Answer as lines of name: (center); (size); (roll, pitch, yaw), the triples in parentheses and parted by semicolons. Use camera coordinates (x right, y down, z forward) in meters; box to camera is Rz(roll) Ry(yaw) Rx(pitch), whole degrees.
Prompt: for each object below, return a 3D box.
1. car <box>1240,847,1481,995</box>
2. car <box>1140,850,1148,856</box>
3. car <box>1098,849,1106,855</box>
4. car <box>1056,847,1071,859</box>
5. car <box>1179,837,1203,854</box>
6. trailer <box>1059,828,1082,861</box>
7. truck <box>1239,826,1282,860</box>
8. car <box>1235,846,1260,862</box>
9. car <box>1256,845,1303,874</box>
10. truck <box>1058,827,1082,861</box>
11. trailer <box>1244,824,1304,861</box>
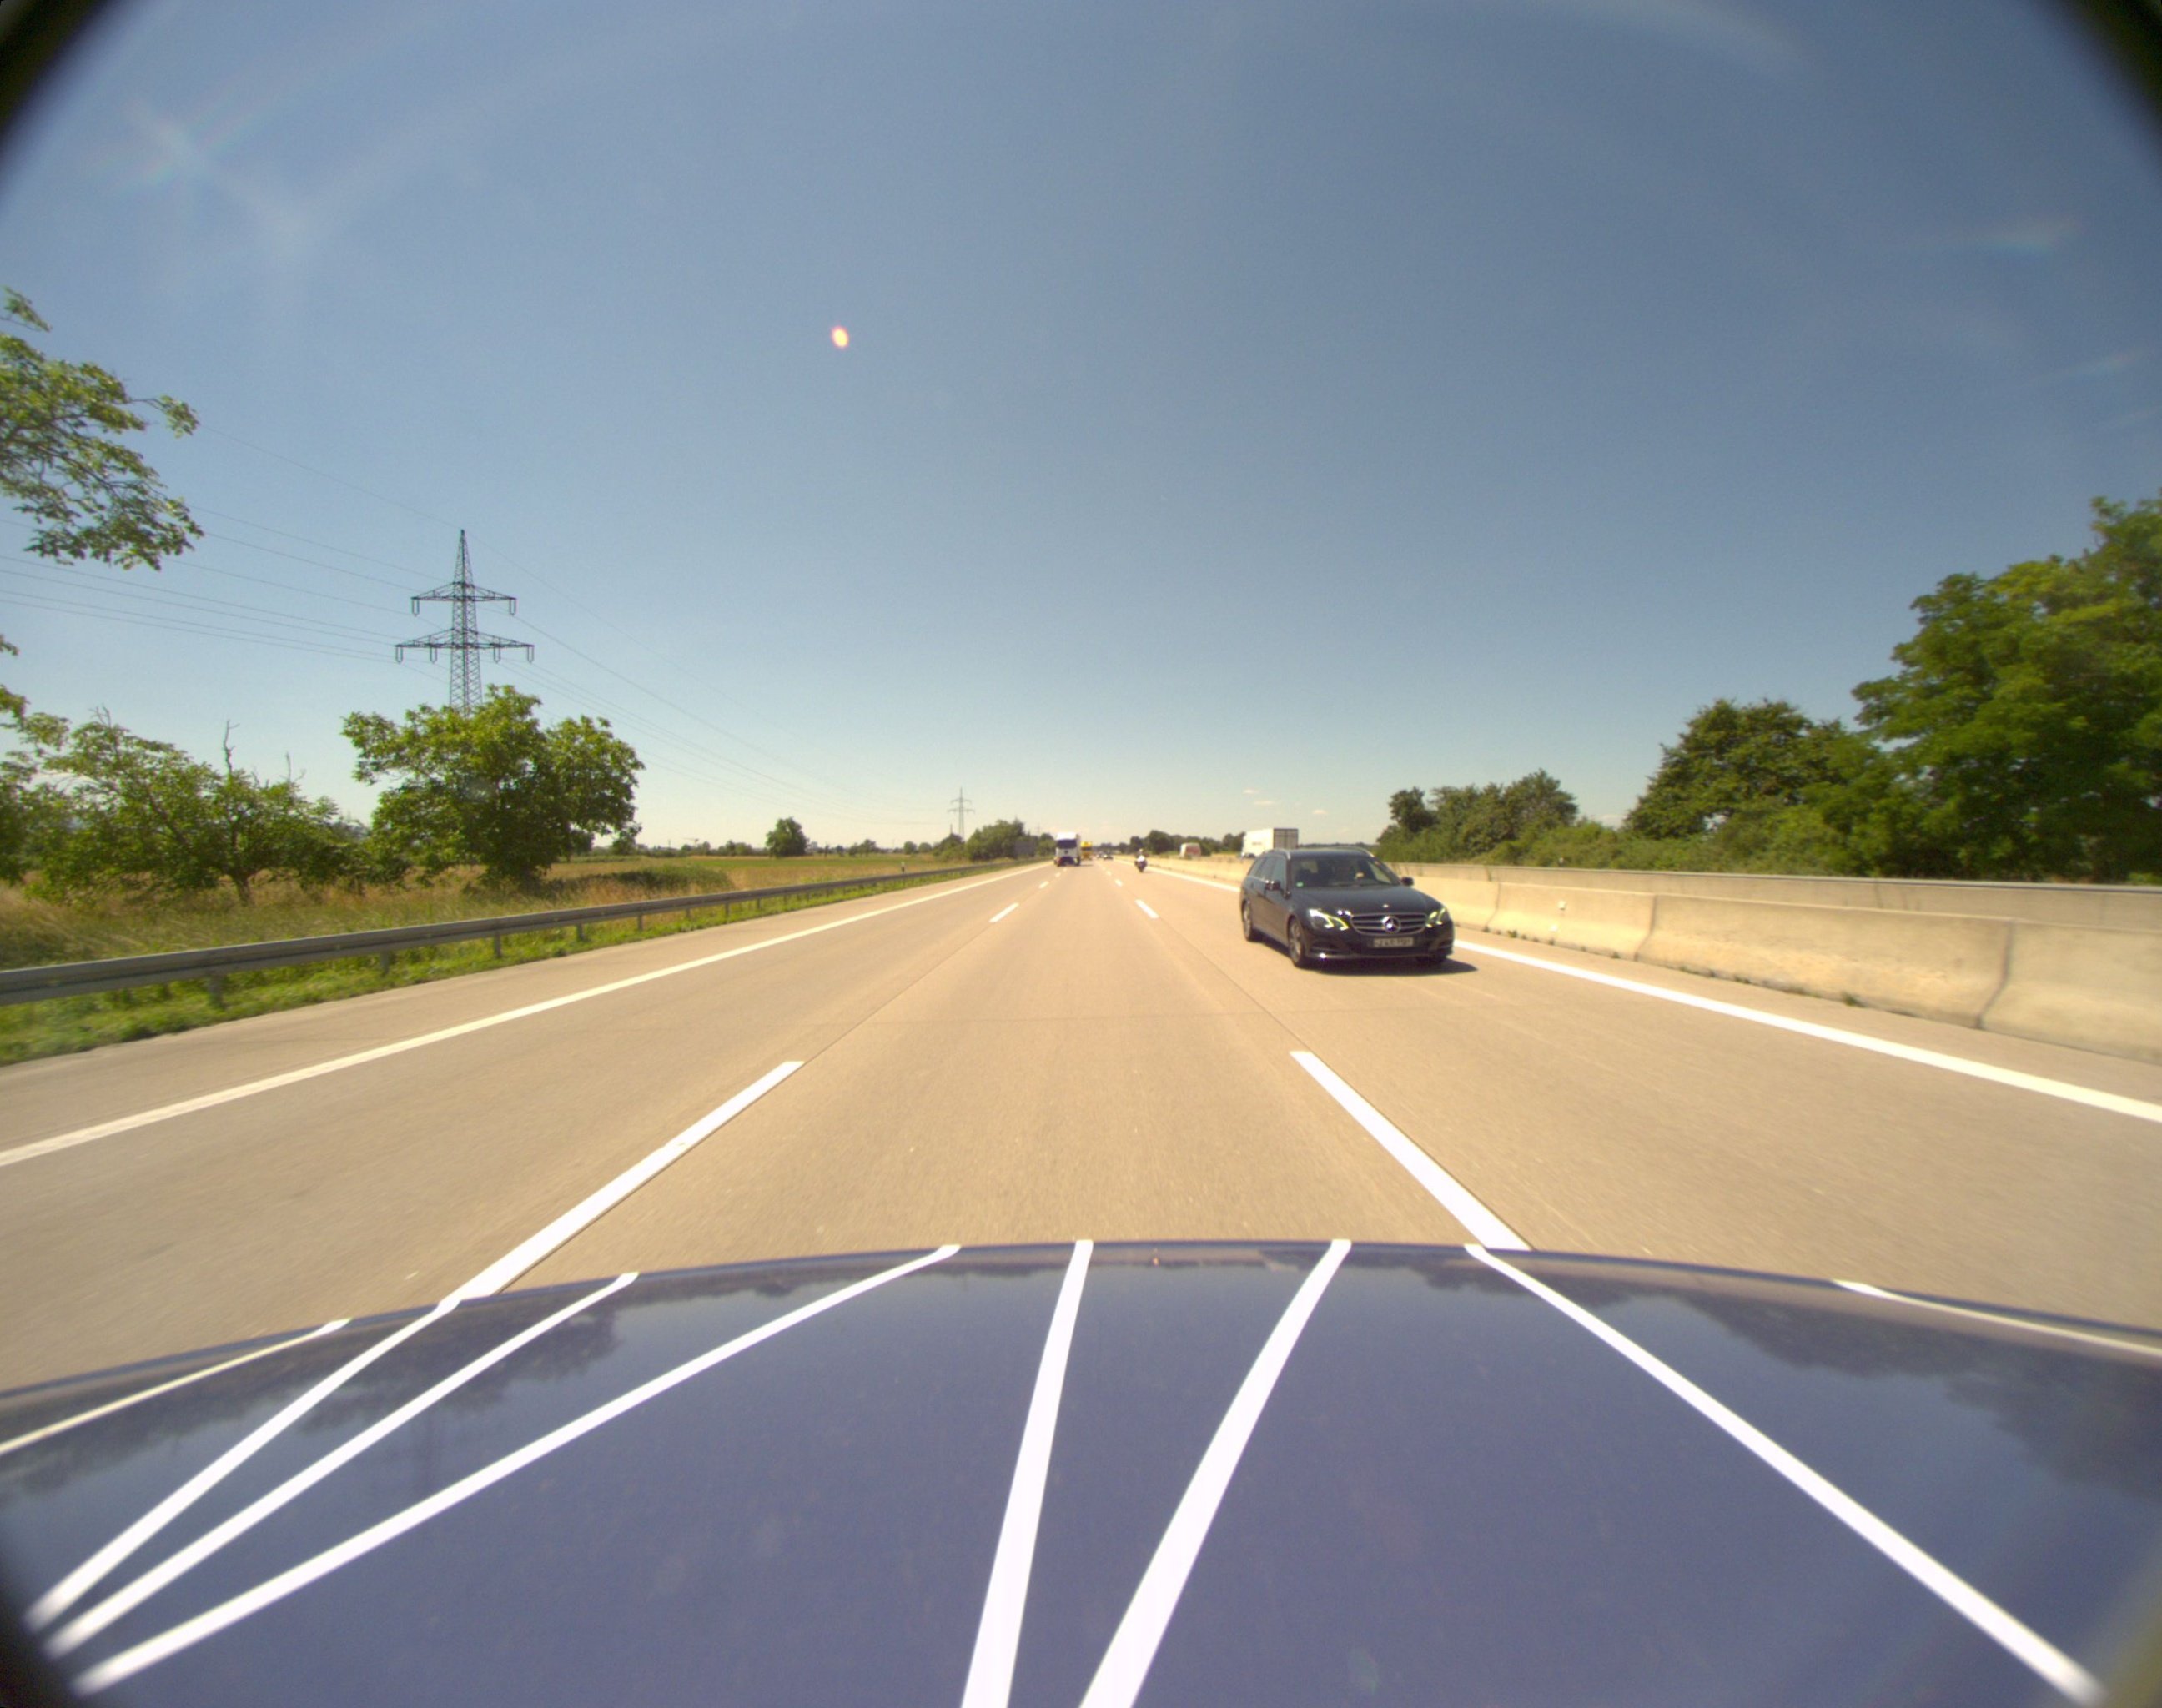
car: (3.505, 0.737, 10.386); (1.848, 1.576, 3.940); (-2, 0, 1)
car: (19.956, -0.391, 241.995); (1.999, 1.827, 4.815); (-2, 0, -2)
car: (6.007, -0.566, 217.636); (1.999, 1.827, 4.815); (-2, 0, -2)
car: (-2.647, -0.222, 117.097); (1.998, 1.772, 4.000); (-2, 0, 3)
car: (13.717, -1.026, 94.885); (2.073, 2.002, 5.980); (-2, 0, 0)
trailer: (-1.273, -1.161, 95.959); (2.587, 3.855, 10.372); (-2, 0, 0)
truck: (21.703, -1.269, 92.205); (3.169, 3.886, 8.372); (-2, 0, 0)
car: (17.473, -0.008, 79.806); (1.824, 1.652, 4.000); (-1, 0, 2)
car: (13.025, 0.329, 50.163); (1.934, 1.783, 4.396); (-2, 0, 0)
truck: (-1.307, -1.180, 90.829); (2.587, 3.855, 4.983); (-2, 0, 0)
trailer: (21.669, -1.213, 86.387); (3.169, 3.816, 14.030); (-2, 0, 0)
